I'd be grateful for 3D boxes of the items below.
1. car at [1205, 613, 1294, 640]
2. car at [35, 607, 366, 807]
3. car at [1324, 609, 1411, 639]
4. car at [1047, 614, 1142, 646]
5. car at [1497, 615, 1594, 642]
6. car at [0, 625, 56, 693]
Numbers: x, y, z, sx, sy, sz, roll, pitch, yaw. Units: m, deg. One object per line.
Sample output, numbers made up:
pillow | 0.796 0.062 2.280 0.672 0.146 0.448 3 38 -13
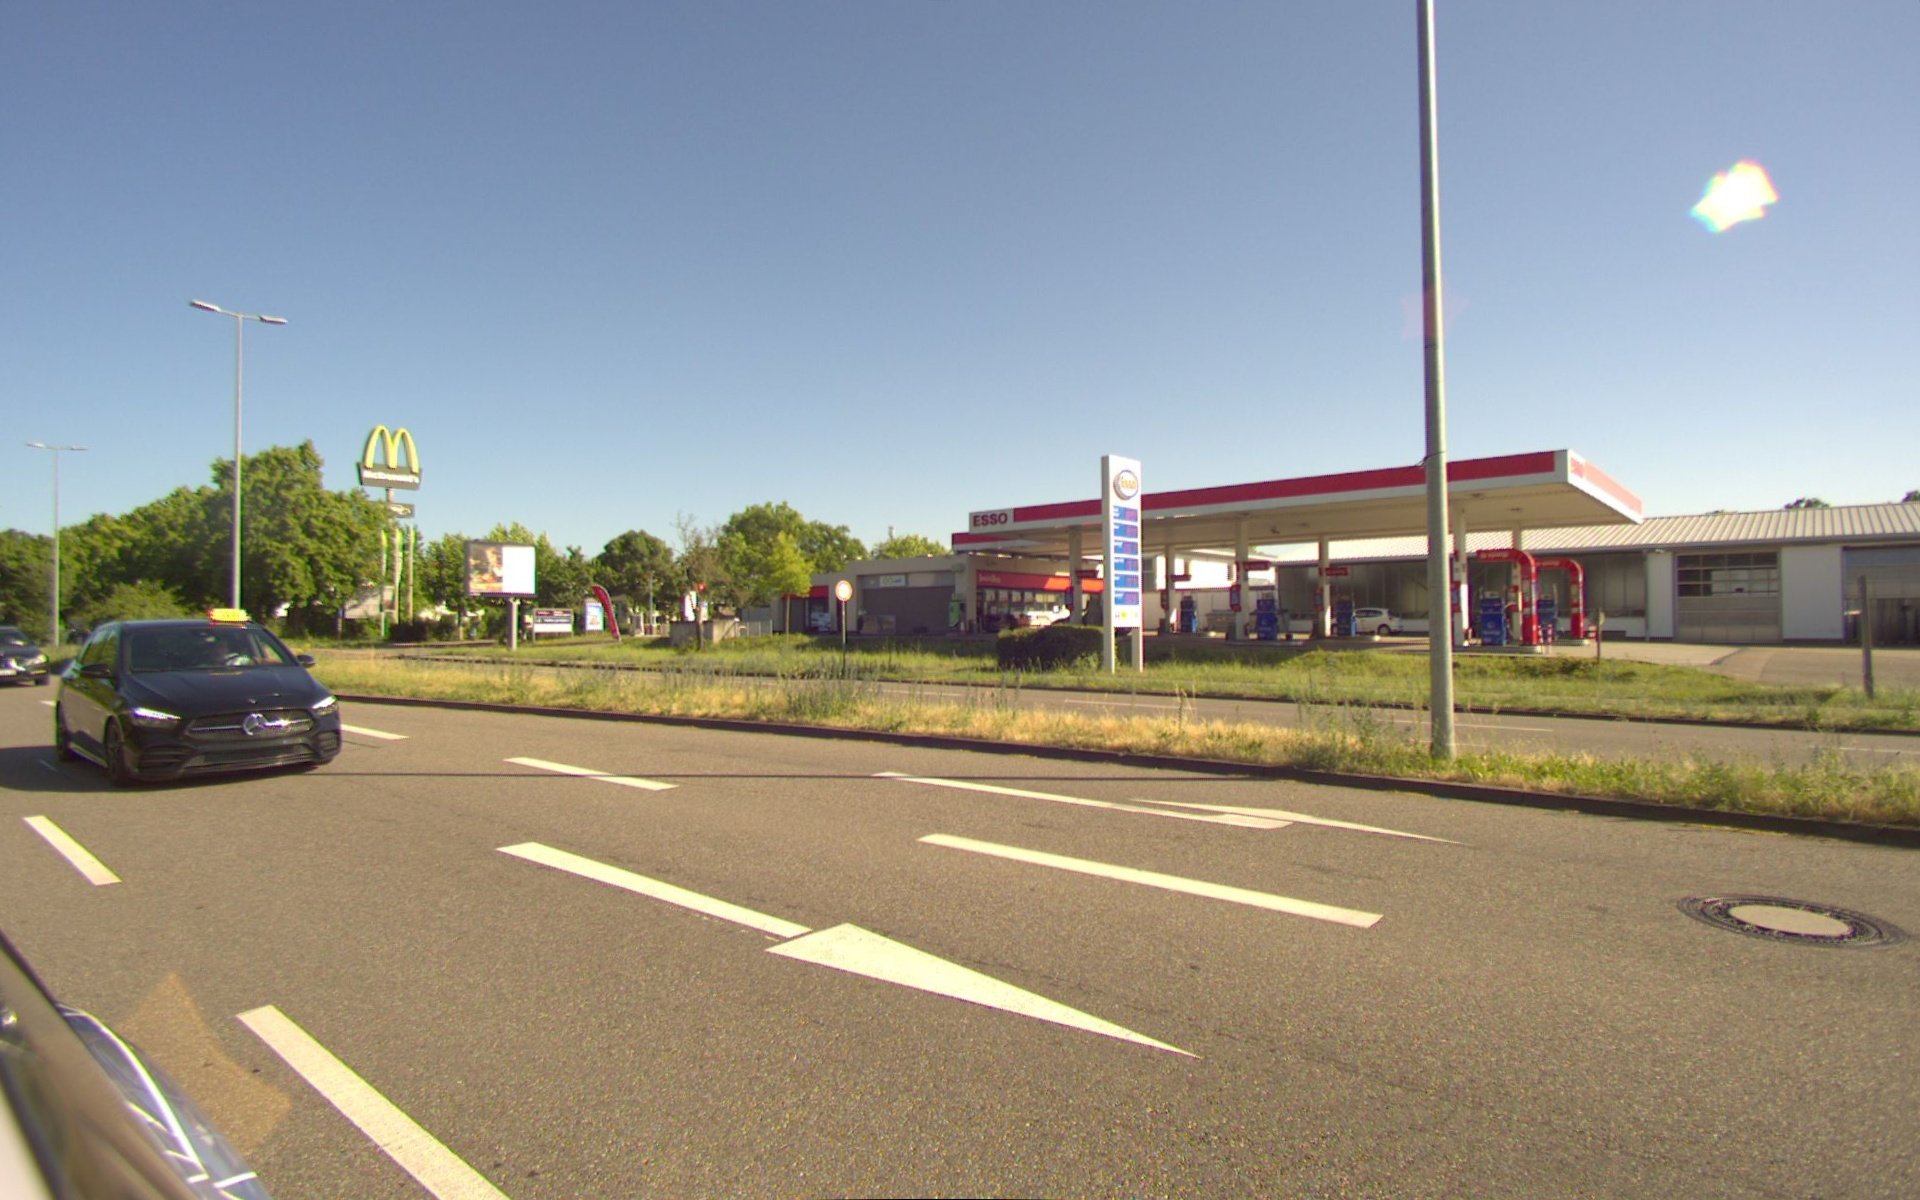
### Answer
car | 16.738 1.503 58.596 4.540 1.477 1.973 -1 0 41
car | -7.945 0.926 10.405 4.580 1.614 1.765 -2 -1 40
car | 21.545 1.271 53.571 3.855 1.500 1.973 -1 0 41
car | 6.237 1.402 47.116 3.998 1.416 1.973 -2 -2 41
car | 27.779 1.343 48.062 3.729 1.196 1.658 -1 0 41
car | -24.018 1.430 25.035 4.461 1.521 1.927 -1 0 41
